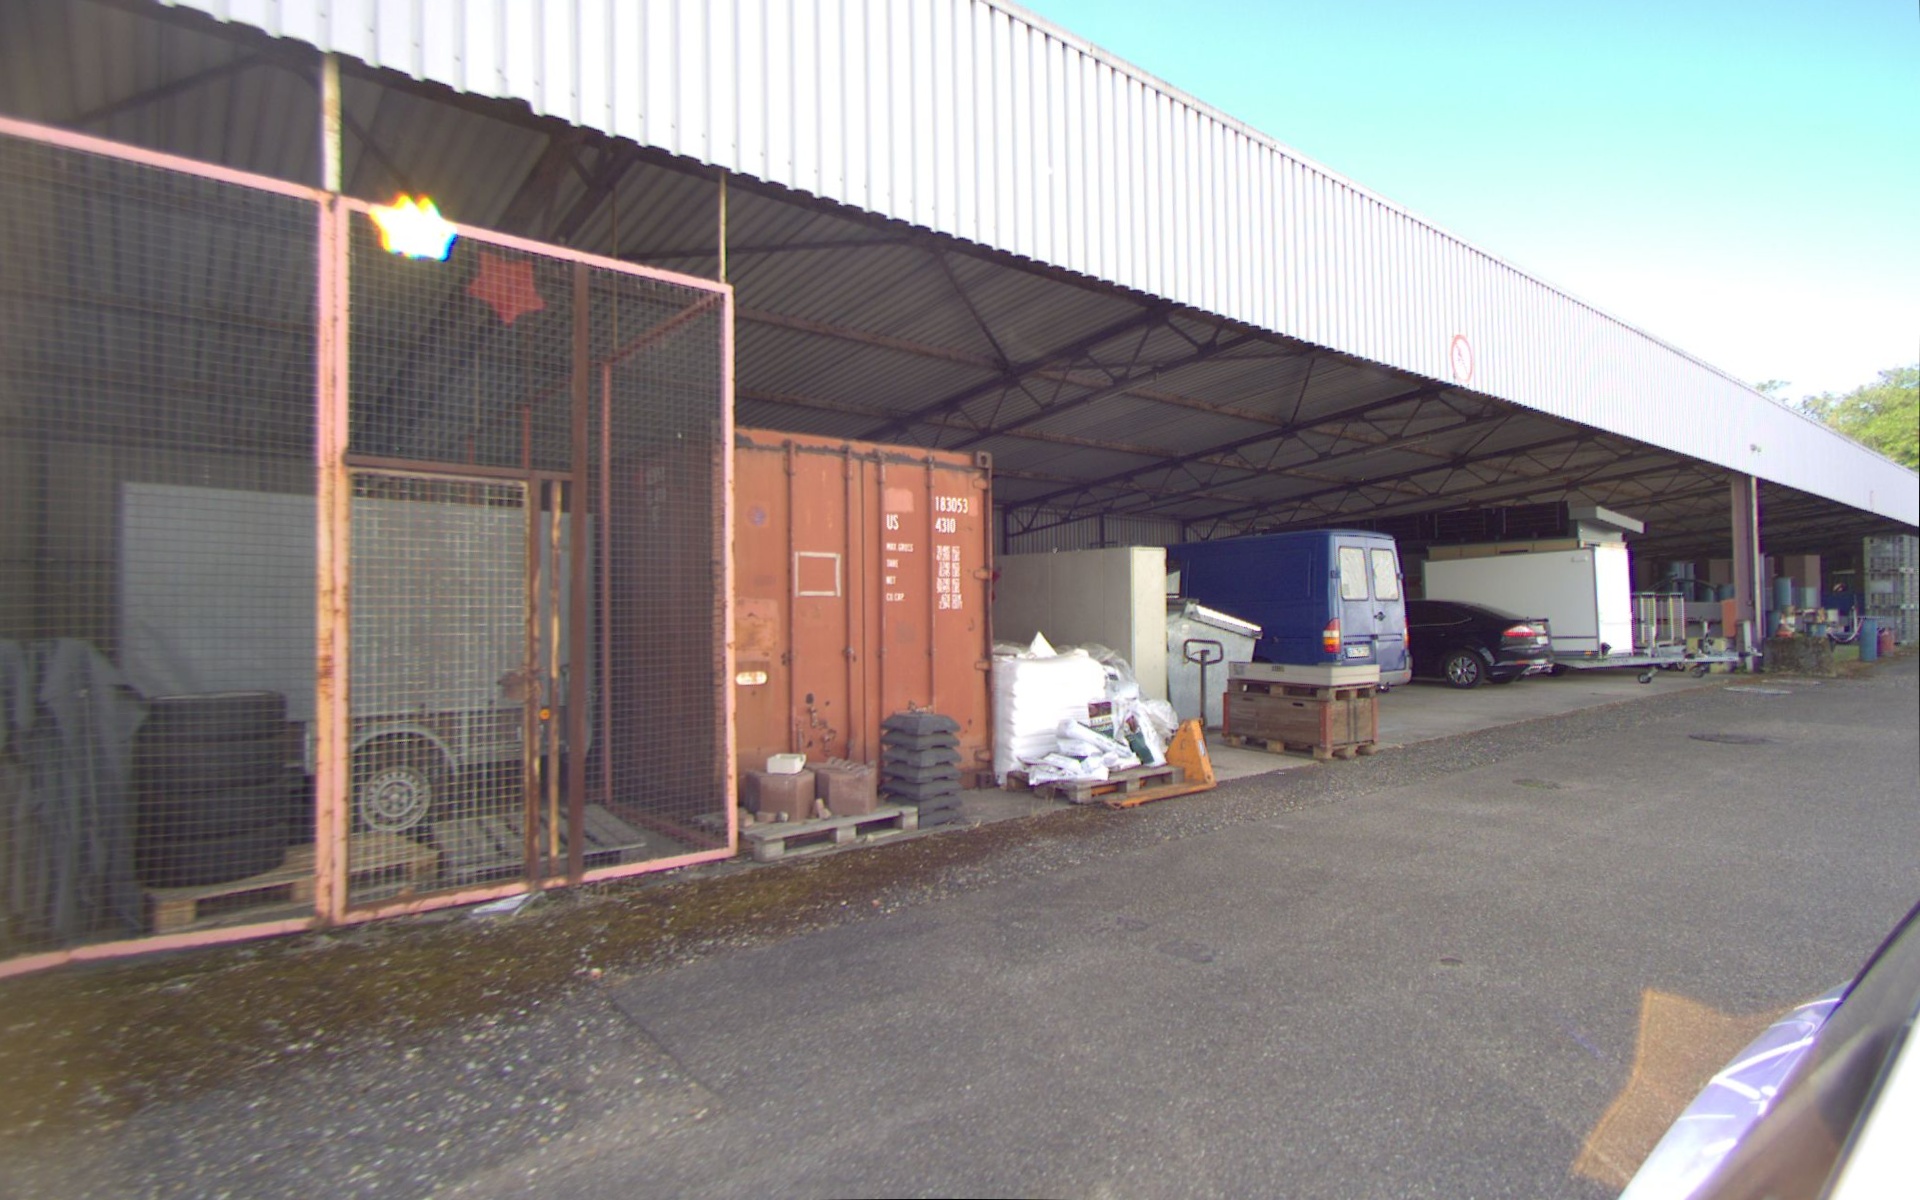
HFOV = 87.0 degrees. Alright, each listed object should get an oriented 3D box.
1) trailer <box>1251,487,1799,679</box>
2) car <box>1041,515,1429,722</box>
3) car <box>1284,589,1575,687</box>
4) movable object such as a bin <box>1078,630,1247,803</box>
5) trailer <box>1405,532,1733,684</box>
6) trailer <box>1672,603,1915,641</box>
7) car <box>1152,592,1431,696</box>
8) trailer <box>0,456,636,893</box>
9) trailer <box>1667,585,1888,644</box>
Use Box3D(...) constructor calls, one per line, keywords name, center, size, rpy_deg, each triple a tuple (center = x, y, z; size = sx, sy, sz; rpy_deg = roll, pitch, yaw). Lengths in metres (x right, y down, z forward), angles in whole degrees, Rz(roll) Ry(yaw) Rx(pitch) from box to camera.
Box3D(name="trailer", center=(11.438, -0.250, 21.965), size=(2.803, 3.257, 10.057), rpy_deg=(0, -1, -39))
Box3D(name="car", center=(3.565, 0.242, 14.081), size=(1.964, 2.355, 4.989), rpy_deg=(0, -1, -39))
Box3D(name="car", center=(8.156, 0.615, 17.917), size=(1.746, 1.515, 4.335), rpy_deg=(0, -1, -41))
Box3D(name="movable object such as a bin", center=(1.547, 0.836, 7.698), size=(1.214, 1.179, 0.583), rpy_deg=(0, -1, -36))
Box3D(name="trailer", center=(10.948, 0.147, 18.593), size=(1.792, 2.422, 4.828), rpy_deg=(0, -1, -34))
Box3D(name="trailer", center=(26.801, 0.682, 32.777), size=(1.993, 1.134, 5.832), rpy_deg=(0, -1, -40))
Box3D(name="car", center=(5.311, 0.649, 16.552), size=(1.759, 1.491, 3.990), rpy_deg=(0, -1, -44))
Box3D(name="trailer", center=(-4.327, 0.359, 6.289), size=(4.027, 2.085, 1.858), rpy_deg=(0, -1, -41))
Box3D(name="trailer", center=(24.459, 0.420, 30.447), size=(1.993, 1.649, 4.875), rpy_deg=(0, -1, -40))
